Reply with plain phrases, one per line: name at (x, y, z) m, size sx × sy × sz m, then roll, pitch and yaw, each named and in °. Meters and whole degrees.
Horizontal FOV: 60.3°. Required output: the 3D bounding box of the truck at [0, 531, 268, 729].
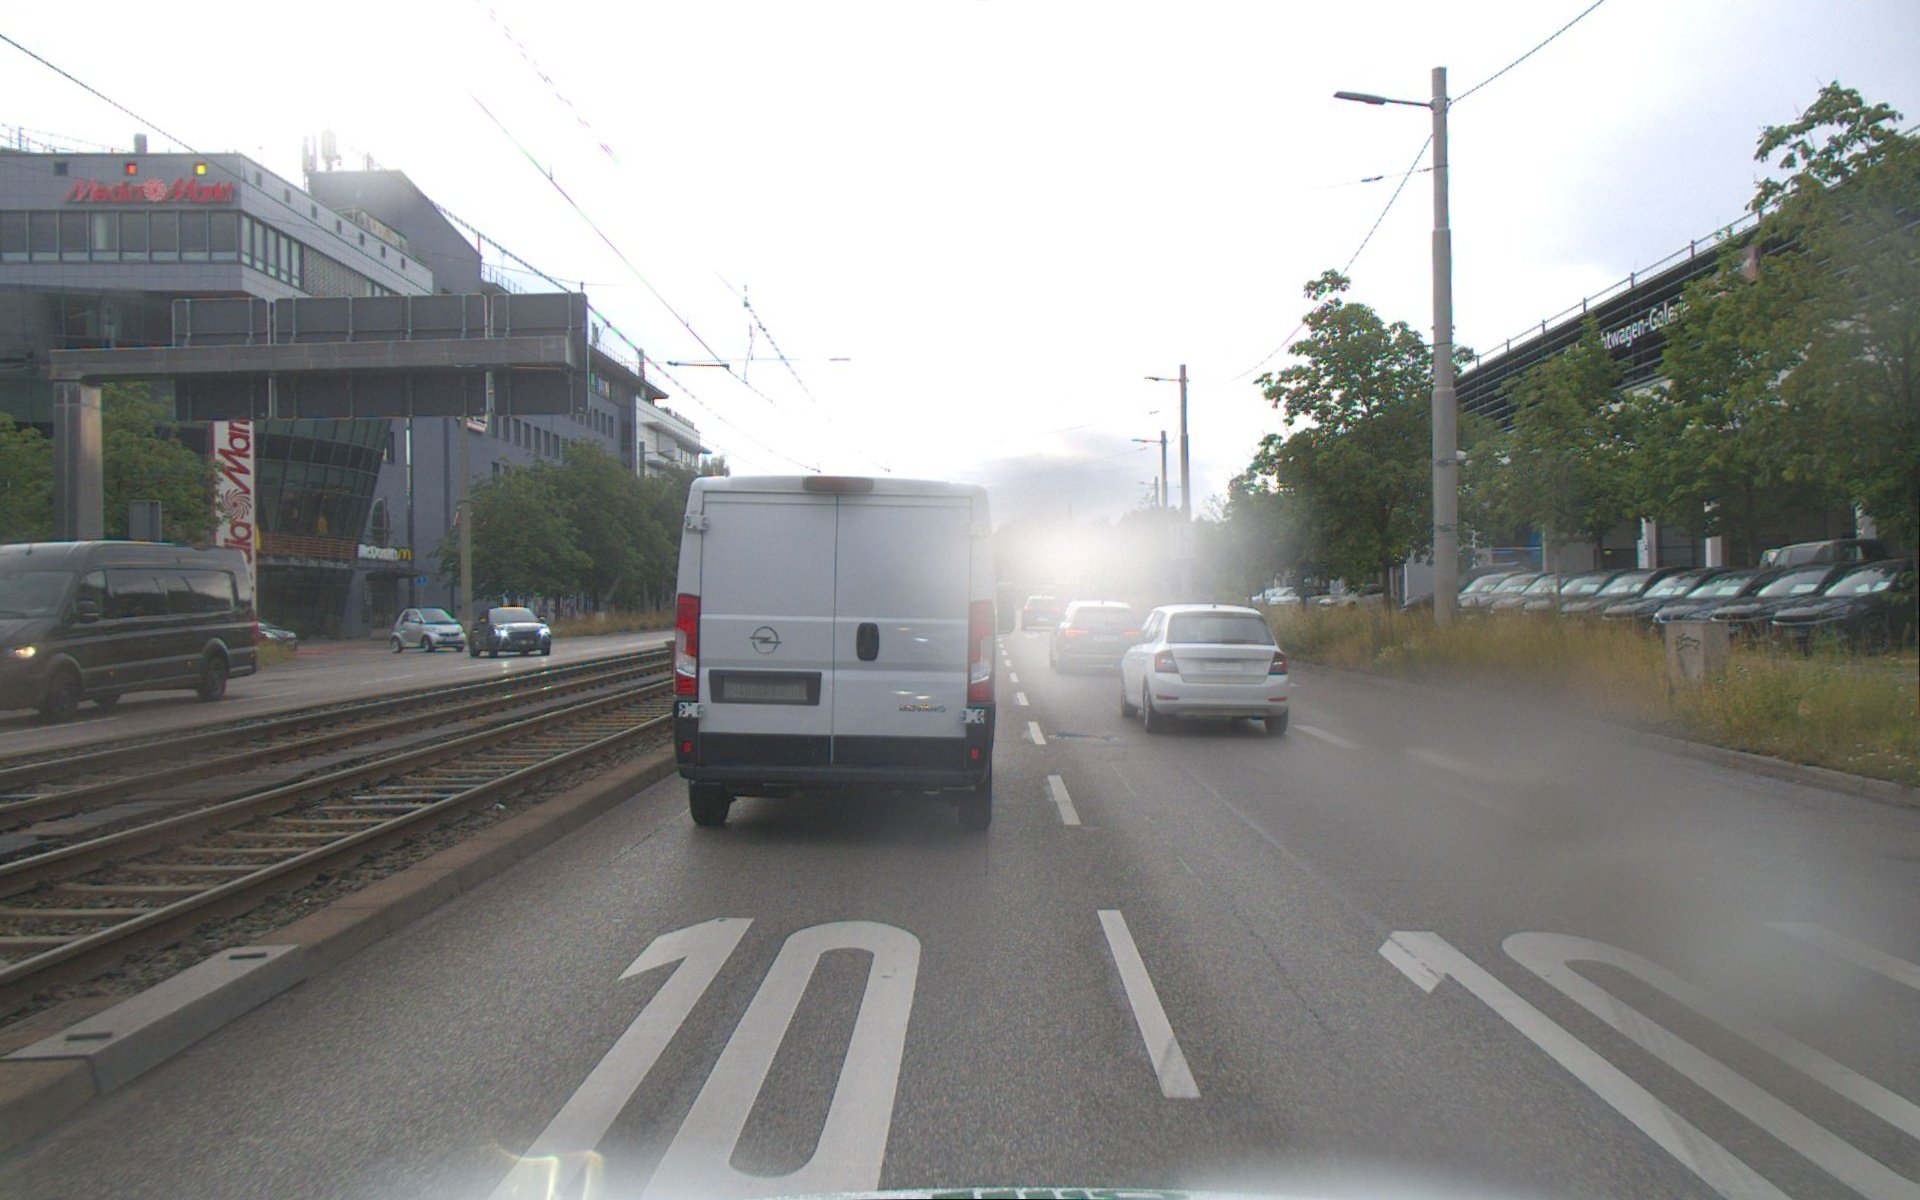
truck at (-13.273, 0.443, 25.465) m, size 2.193 × 2.609 × 7.014 m, roll -3°, pitch 0°, yaw 0°

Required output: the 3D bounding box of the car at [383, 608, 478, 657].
car at (-18.706, 1.157, 58.458) m, size 2.885 × 1.563 × 1.601 m, roll -2°, pitch 2°, yaw 29°

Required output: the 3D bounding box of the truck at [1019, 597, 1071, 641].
truck at (3.650, 0.799, 71.648) m, size 1.953 × 1.822 × 4.413 m, roll -1°, pitch 0°, yaw -1°

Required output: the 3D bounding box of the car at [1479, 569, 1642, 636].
car at (16.590, 0.062, 45.703) m, size 4.085 × 1.632 × 1.813 m, roll -3°, pitch 0°, yaw -24°

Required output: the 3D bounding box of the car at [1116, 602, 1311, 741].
car at (2.982, 0.792, 20.151) m, size 1.711 × 1.483 × 3.670 m, roll 1°, pitch 0°, yaw -1°

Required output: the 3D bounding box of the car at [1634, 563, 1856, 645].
car at (16.389, 0.083, 34.558) m, size 4.077 × 1.484 × 1.784 m, roll -3°, pitch 0°, yaw -19°

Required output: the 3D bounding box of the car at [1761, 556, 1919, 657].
car at (16.226, 0.065, 28.840) m, size 3.983 × 1.603 × 1.723 m, roll -3°, pitch 0°, yaw -19°

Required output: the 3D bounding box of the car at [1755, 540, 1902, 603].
car at (29.525, -0.943, 56.318) m, size 3.944 × 2.010 × 1.945 m, roll -2°, pitch 0°, yaw 0°

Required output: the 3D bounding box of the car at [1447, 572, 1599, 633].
car at (16.527, 0.079, 48.529) m, size 4.088 × 1.589 × 1.854 m, roll -3°, pitch 0°, yaw -26°

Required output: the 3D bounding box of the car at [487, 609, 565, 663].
car at (-12.920, 1.036, 49.410) m, size 1.769 × 1.454 × 4.227 m, roll -2°, pitch 0°, yaw -9°

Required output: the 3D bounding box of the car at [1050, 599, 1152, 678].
car at (2.807, 0.737, 33.668) m, size 1.753 × 1.474 × 4.000 m, roll 0°, pitch 0°, yaw 0°

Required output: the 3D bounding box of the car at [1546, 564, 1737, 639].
car at (16.479, 0.040, 39.995) m, size 4.082 × 1.597 × 1.896 m, roll -3°, pitch 0°, yaw -22°

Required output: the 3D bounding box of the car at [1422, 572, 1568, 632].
car at (16.644, 0.060, 51.426) m, size 4.273 × 1.640 × 1.852 m, roll -3°, pitch 0°, yaw -29°

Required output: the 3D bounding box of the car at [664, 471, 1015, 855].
car at (-0.674, 0.376, 12.329) m, size 2.047 × 2.235 × 5.061 m, roll 1°, pitch 0°, yaw 1°

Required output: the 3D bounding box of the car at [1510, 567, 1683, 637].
car at (16.508, 0.045, 42.882) m, size 4.085 × 1.597 × 1.813 m, roll -3°, pitch 0°, yaw -24°

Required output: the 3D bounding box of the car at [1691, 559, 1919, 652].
car at (16.269, 0.091, 31.598) m, size 4.077 × 1.561 × 1.784 m, roll -3°, pitch 0°, yaw -19°

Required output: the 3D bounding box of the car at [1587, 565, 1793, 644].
car at (16.420, 0.102, 37.227) m, size 4.077 × 1.554 × 1.821 m, roll -3°, pitch 0°, yaw -19°

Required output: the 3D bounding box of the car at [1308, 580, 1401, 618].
car at (17.889, -0.058, 75.021) m, size 4.048 × 1.491 × 1.729 m, roll -2°, pitch -1°, yaw -32°

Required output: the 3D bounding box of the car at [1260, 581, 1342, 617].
car at (17.411, -0.052, 84.460) m, size 4.054 × 1.596 × 1.777 m, roll -2°, pitch -1°, yaw -36°

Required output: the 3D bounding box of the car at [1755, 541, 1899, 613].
car at (25.290, -0.662, 48.417) m, size 1.848 × 1.972 × 4.429 m, roll -1°, pitch 0°, yaw 0°
